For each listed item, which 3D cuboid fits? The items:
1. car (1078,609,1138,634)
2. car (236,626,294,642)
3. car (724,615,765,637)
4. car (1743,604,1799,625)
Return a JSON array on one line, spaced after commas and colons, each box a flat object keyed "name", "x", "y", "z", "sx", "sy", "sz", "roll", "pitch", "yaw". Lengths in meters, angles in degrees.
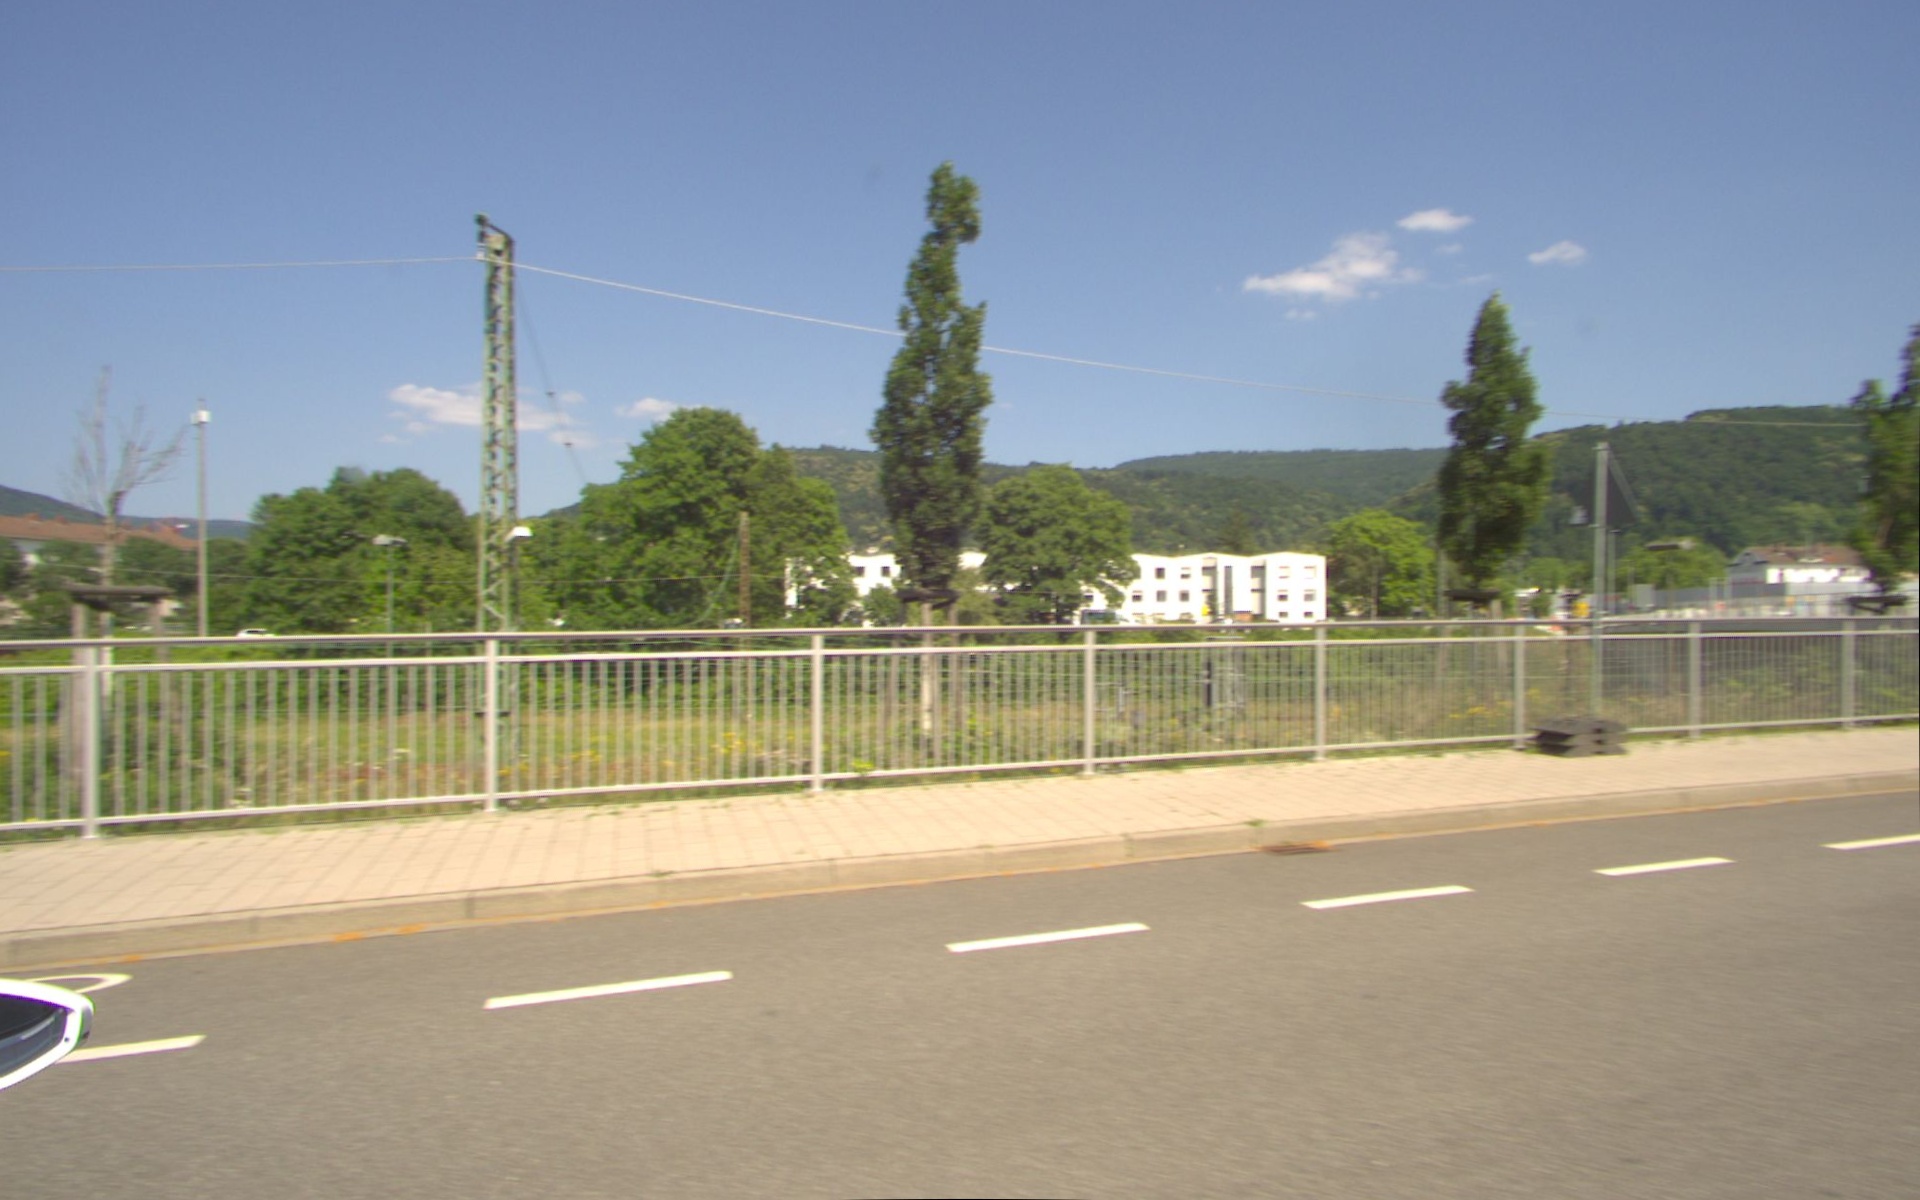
[{"name": "car", "x": 14.731, "y": 2.160, "z": 99.899, "sx": 5.413, "sy": 2.126, "sz": 2.138, "roll": -2, "pitch": -5, "yaw": -8}, {"name": "car", "x": -62.777, "y": 3.072, "z": 90.473, "sx": 4.234, "sy": 1.385, "sz": 1.865, "roll": -1, "pitch": -1, "yaw": 11}, {"name": "car", "x": -22.433, "y": 2.704, "z": 104.187, "sx": 3.857, "sy": 2.037, "sz": 1.758, "roll": -2, "pitch": -4, "yaw": -1}, {"name": "car", "x": 70.271, "y": 1.223, "z": 86.854, "sx": 1.798, "sy": 1.673, "sz": 4.578, "roll": -4, "pitch": -1, "yaw": 12}]
